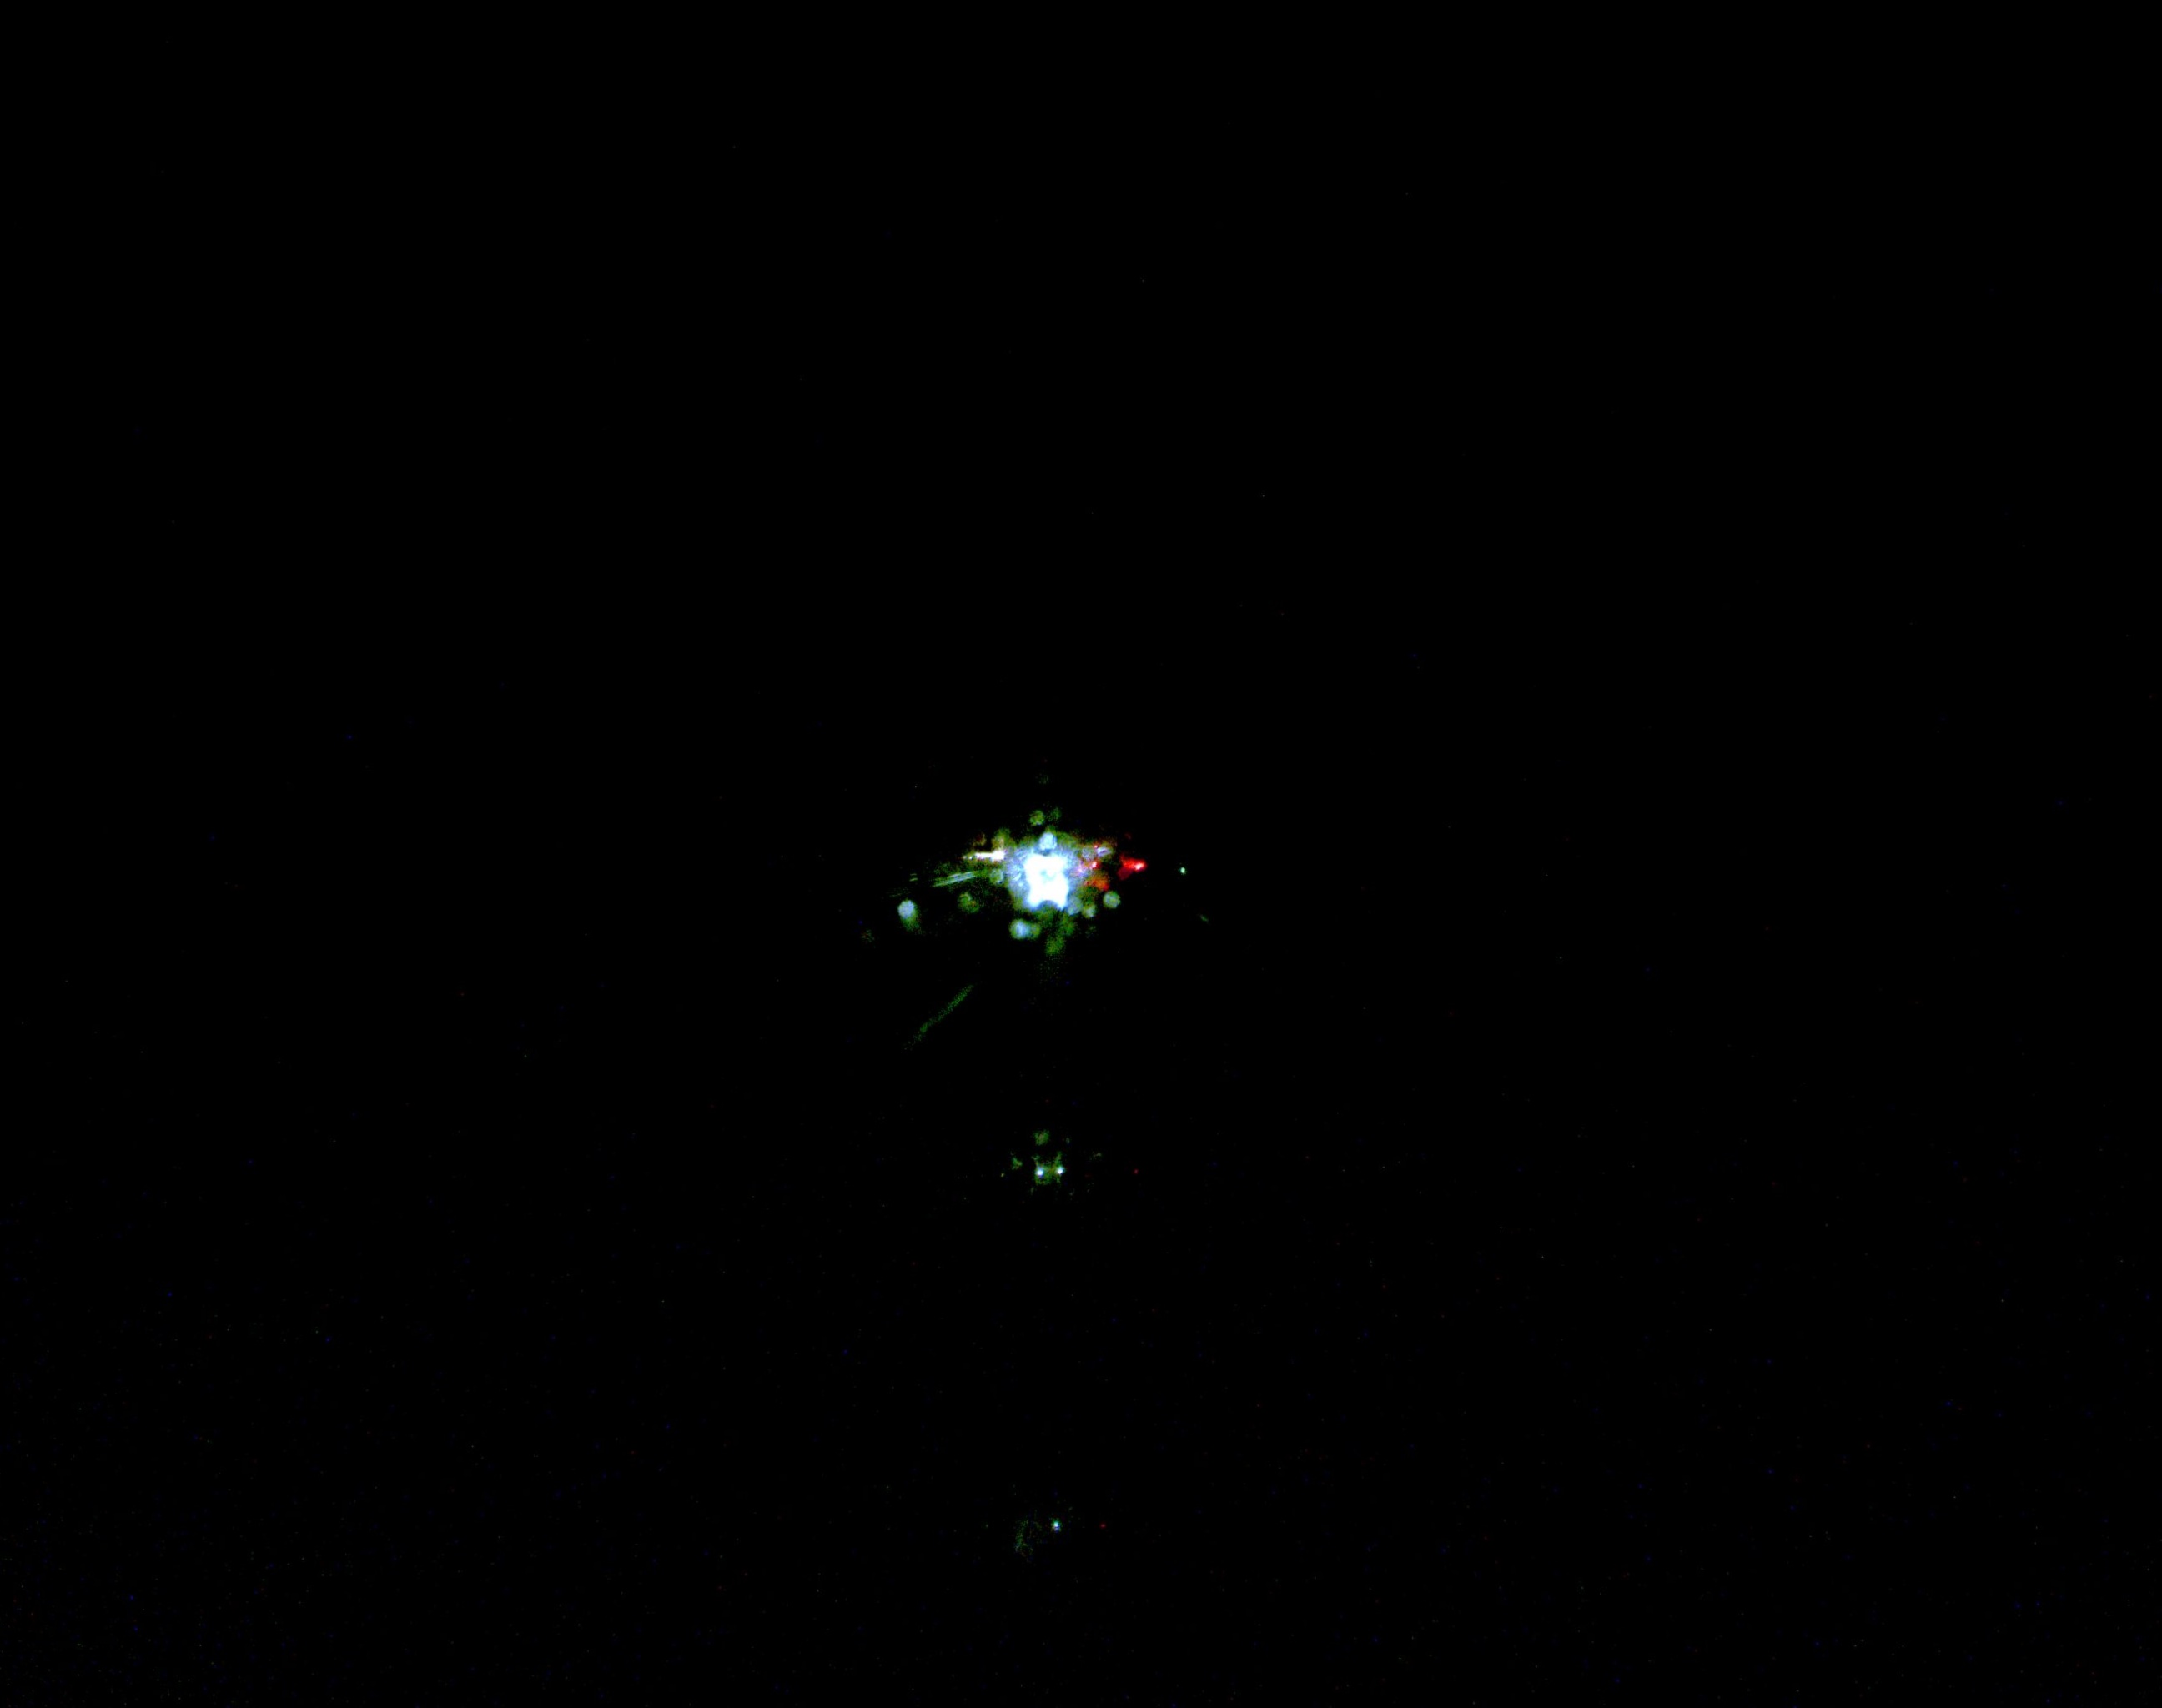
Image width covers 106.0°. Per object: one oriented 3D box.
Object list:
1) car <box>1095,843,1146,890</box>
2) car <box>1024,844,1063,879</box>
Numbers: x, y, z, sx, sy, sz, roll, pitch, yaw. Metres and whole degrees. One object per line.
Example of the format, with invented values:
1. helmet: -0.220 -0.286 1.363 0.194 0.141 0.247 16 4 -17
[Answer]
1. car: 1.665 0.479 35.036 1.986 1.806 3.920 -2 2 2
2. car: -2.122 0.381 46.716 1.987 1.781 4.001 -1 2 0
